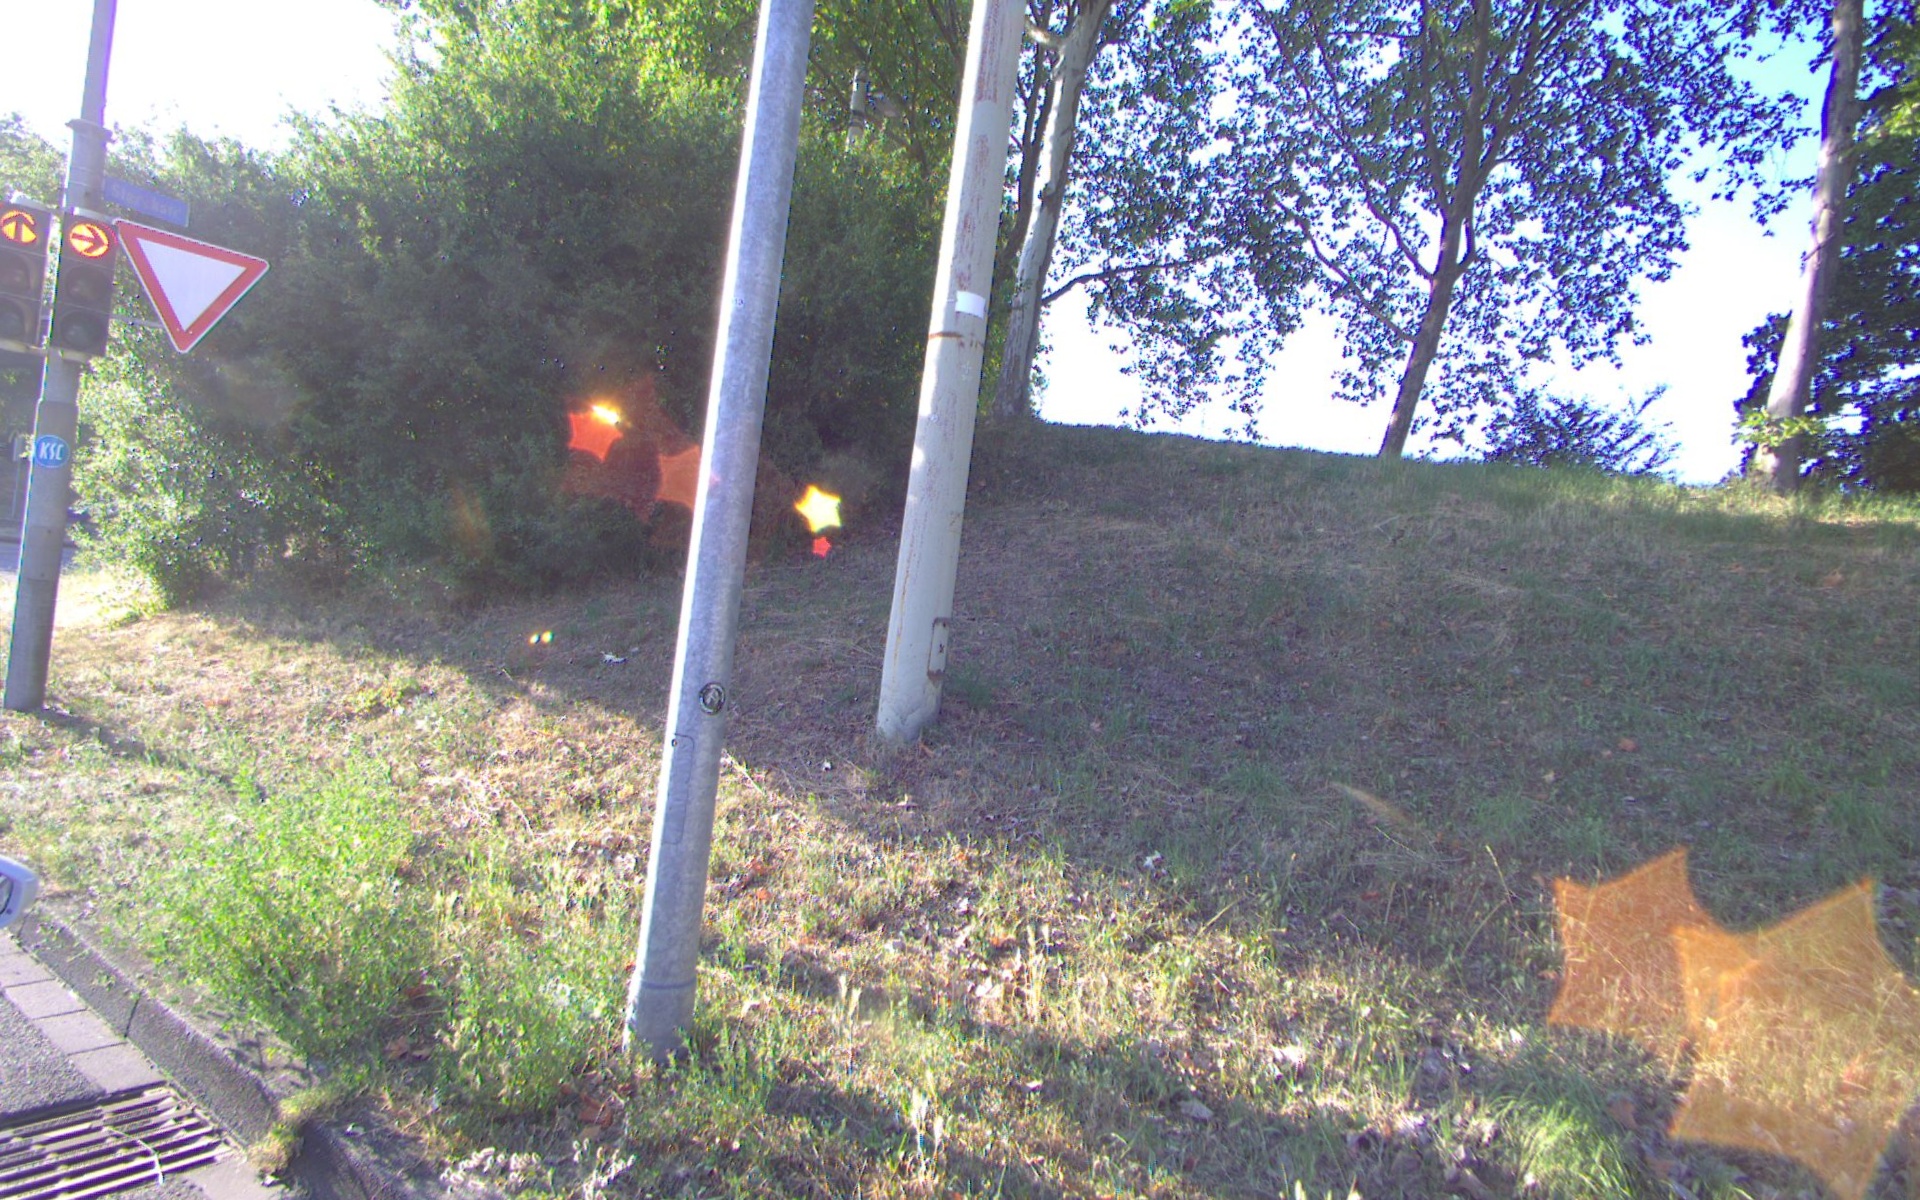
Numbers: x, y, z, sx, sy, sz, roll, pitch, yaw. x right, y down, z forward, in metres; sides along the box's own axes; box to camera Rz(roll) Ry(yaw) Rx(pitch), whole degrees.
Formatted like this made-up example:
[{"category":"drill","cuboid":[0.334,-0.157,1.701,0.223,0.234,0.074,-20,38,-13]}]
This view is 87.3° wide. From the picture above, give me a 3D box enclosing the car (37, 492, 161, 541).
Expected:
[{"category":"car","cuboid":[-40.225,-3.874,47.131,1.962,1.577,3.939,7,-1,10]}]
